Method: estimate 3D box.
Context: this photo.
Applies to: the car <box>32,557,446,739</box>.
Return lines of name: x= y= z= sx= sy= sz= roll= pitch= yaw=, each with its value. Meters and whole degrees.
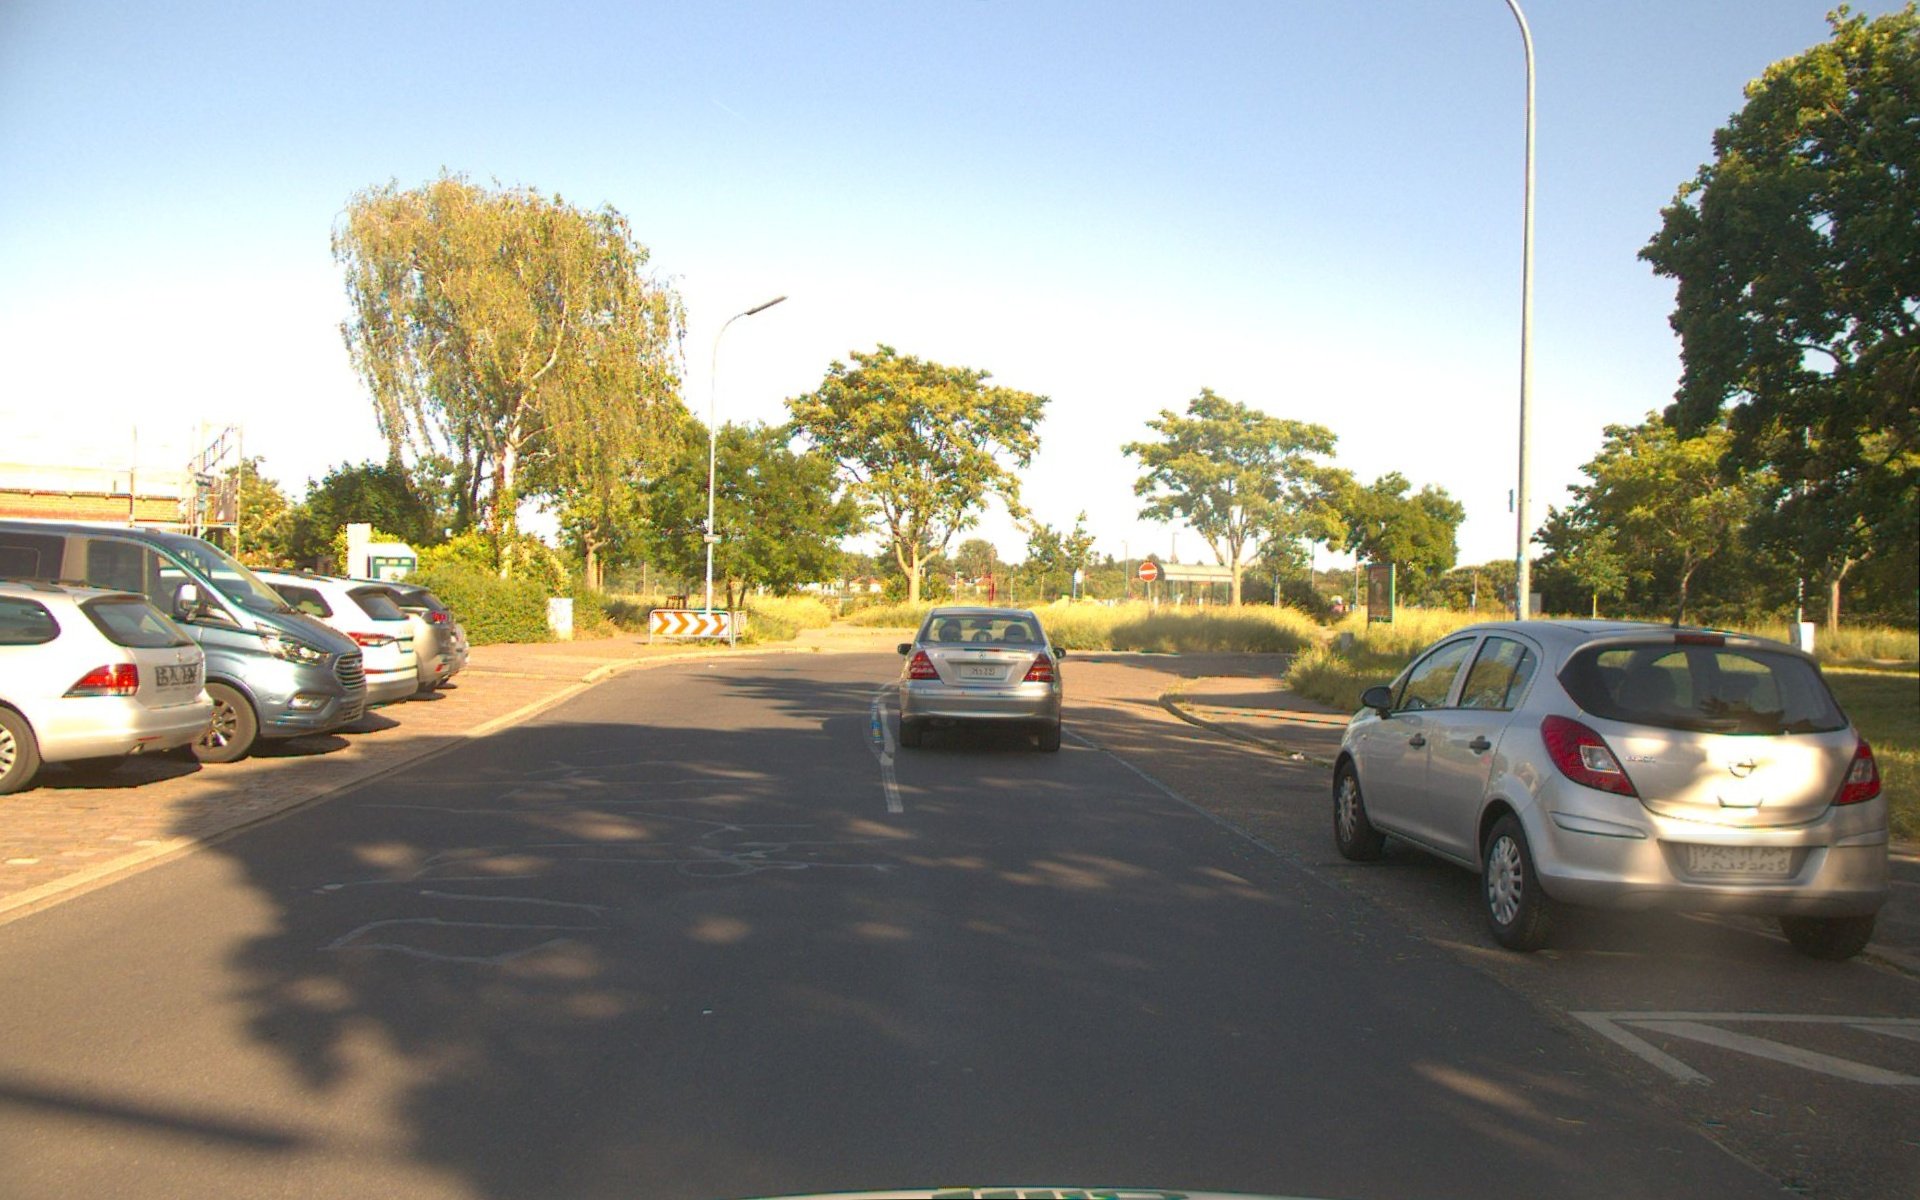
car: x=-7.555 y=0.499 z=17.603 sx=3.539 sy=1.635 sz=1.732 roll=3 pitch=-1 yaw=-2

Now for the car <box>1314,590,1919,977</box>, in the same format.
car: x=3.253 y=0.797 z=8.835 sx=1.697 sy=1.570 sz=3.786 roll=2 pitch=-1 yaw=-3

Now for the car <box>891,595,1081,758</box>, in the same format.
car: x=0.323 y=0.731 z=18.105 sx=1.778 sy=1.489 sz=4.362 roll=2 pitch=0 yaw=2

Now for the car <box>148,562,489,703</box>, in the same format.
car: x=-8.779 y=0.444 z=22.897 sx=3.907 sy=1.640 sz=1.818 roll=3 pitch=-1 yaw=-2

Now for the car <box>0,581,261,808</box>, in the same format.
car: x=-7.734 y=0.595 z=12.445 sx=4.055 sy=1.518 sz=1.924 roll=3 pitch=-1 yaw=-3

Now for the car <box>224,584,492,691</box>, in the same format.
car: x=-9.254 y=0.583 z=25.678 sx=3.621 sy=1.484 sz=1.630 roll=2 pitch=-1 yaw=-11

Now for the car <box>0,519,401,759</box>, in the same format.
car: x=-7.792 y=0.315 z=14.947 sx=4.778 sy=1.949 sz=1.997 roll=2 pitch=-1 yaw=-6
